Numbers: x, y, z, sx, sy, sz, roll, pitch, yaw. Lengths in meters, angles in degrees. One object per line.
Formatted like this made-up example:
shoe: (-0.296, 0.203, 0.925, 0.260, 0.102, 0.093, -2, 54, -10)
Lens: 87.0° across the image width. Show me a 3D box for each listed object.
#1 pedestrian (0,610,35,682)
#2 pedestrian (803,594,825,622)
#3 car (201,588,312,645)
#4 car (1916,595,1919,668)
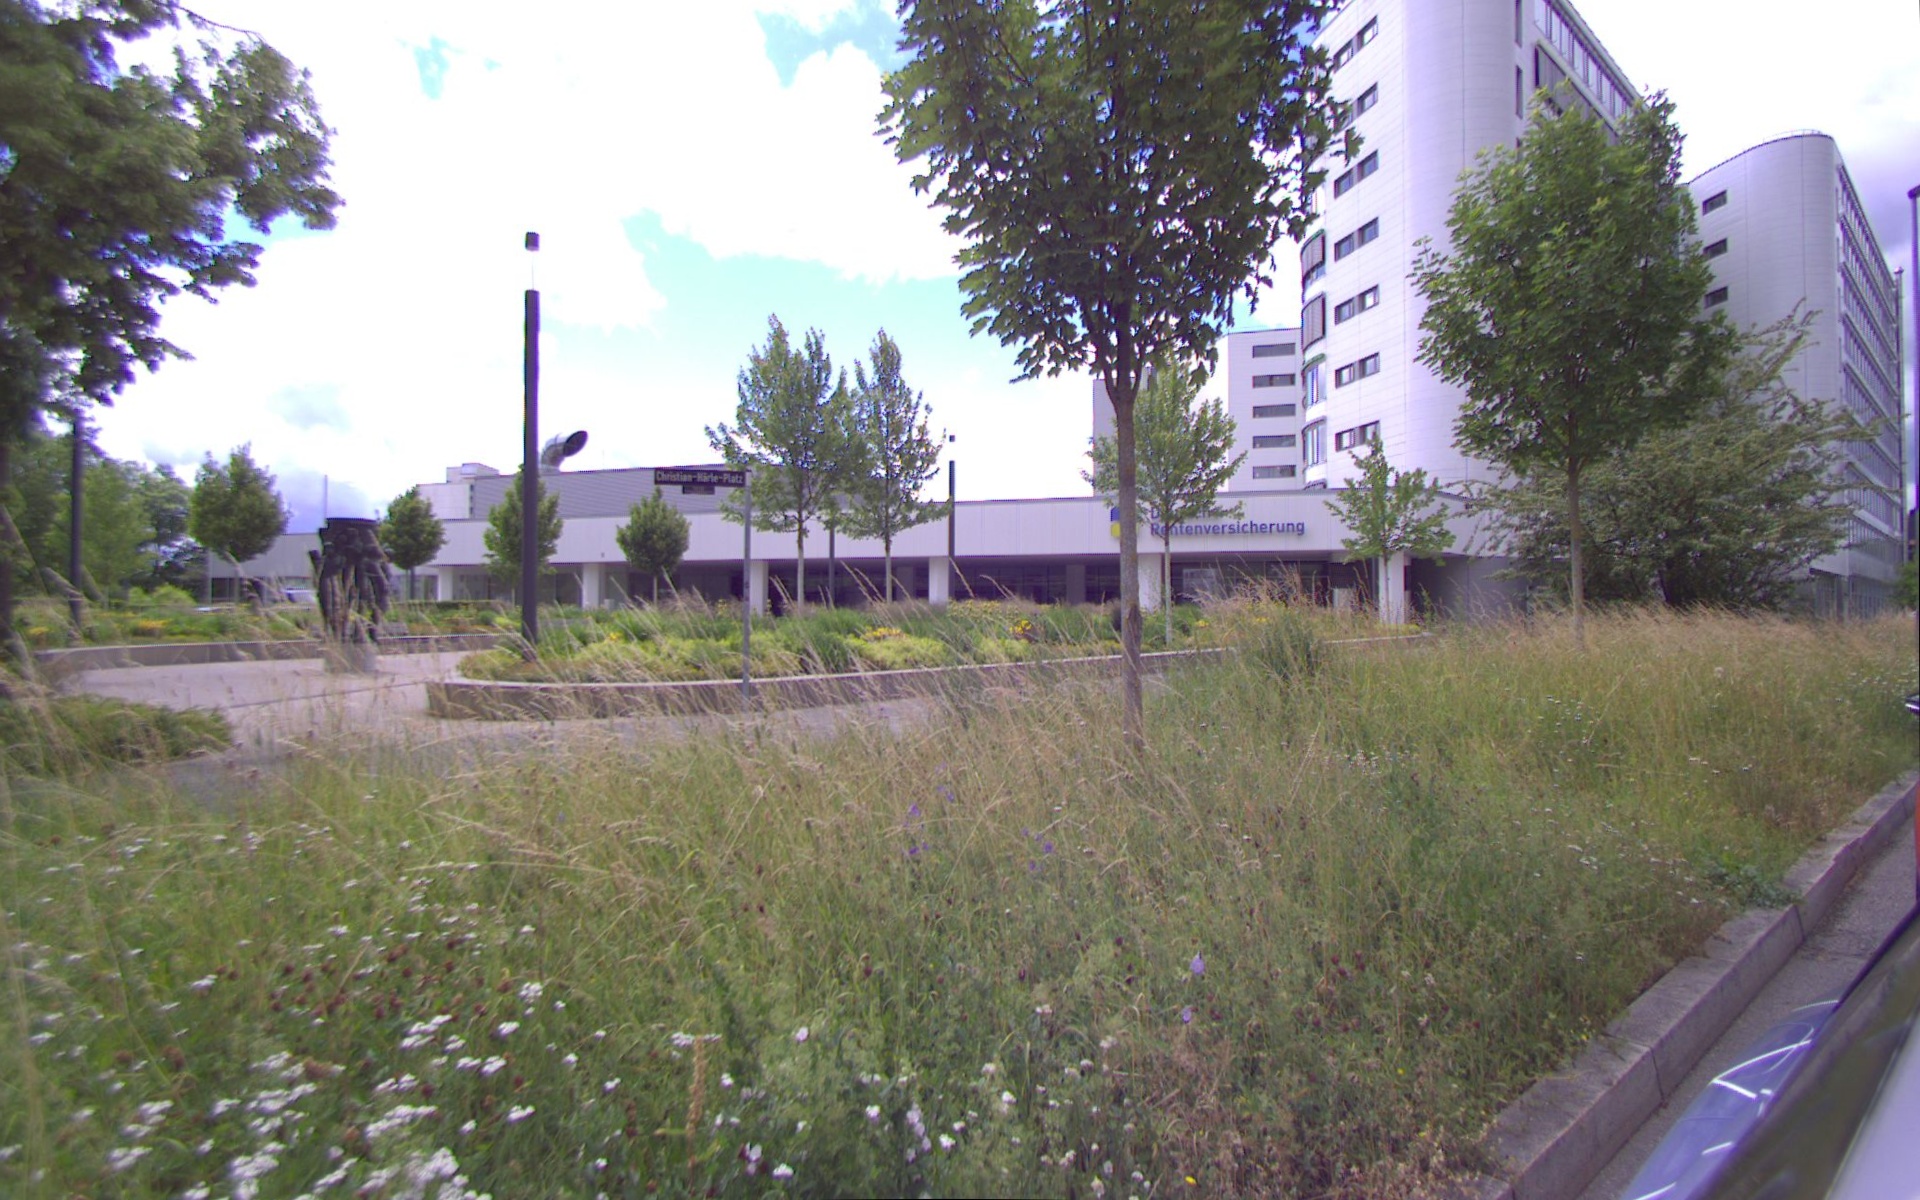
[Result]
pedestrian: (-17.456, 0.837, 18.671, 0.560, 1.278, 0.581, 0, 0, -43)
pedestrian: (-6.637, 0.363, 46.105, 0.869, 1.290, 0.704, 1, 0, 2)
car: (-23.371, 0.515, 33.613, 3.470, 1.788, 1.622, 0, 0, 27)
car: (22.619, 0.705, 22.477, 3.386, 1.594, 1.736, 0, 0, -42)
